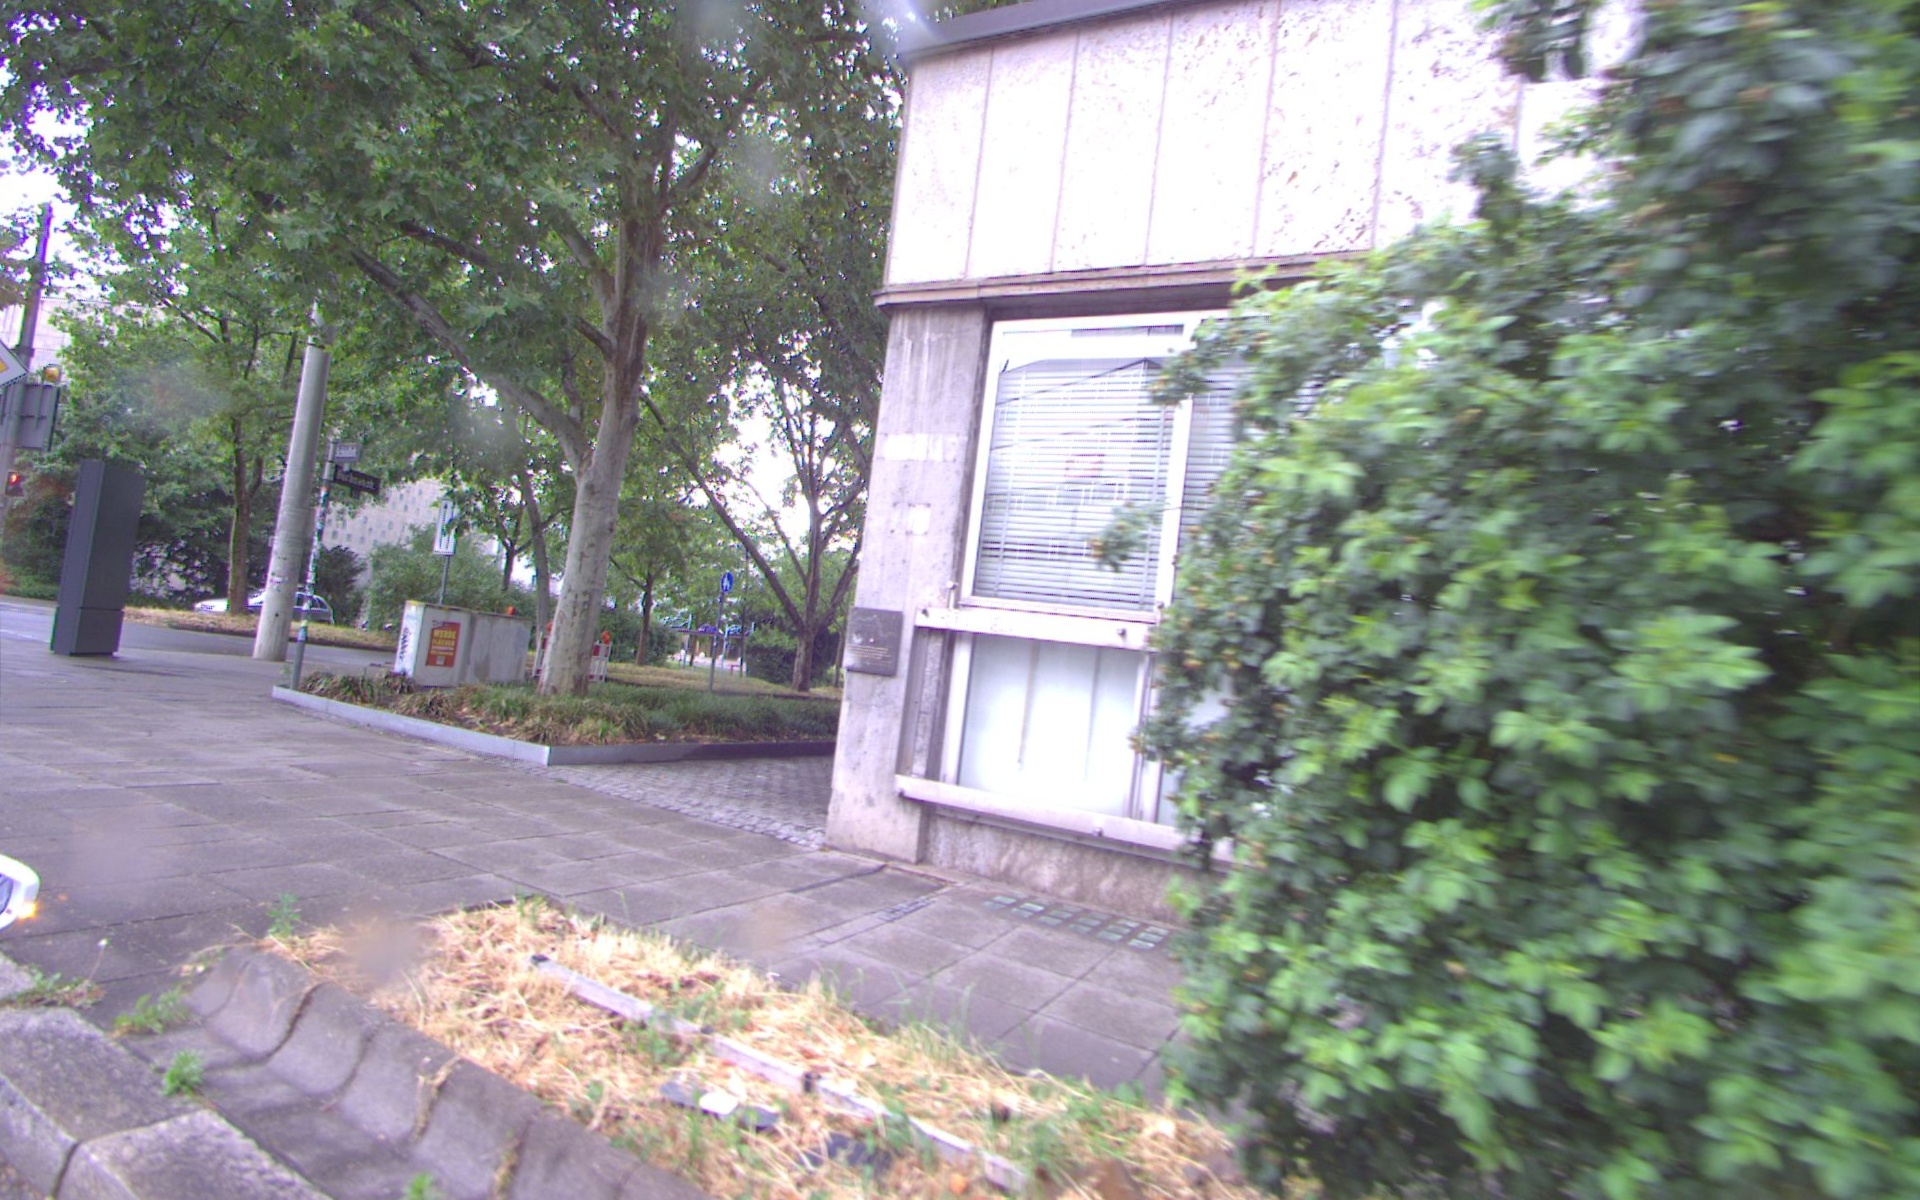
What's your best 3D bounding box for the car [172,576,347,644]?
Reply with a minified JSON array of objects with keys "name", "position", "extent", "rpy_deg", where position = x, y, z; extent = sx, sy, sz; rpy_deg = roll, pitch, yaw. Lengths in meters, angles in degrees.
[{"name":"car","position":[-22.223,0.368,32.103],"extent":[1.964,1.456,4.007],"rpy_deg":[6,-6,25]}]
